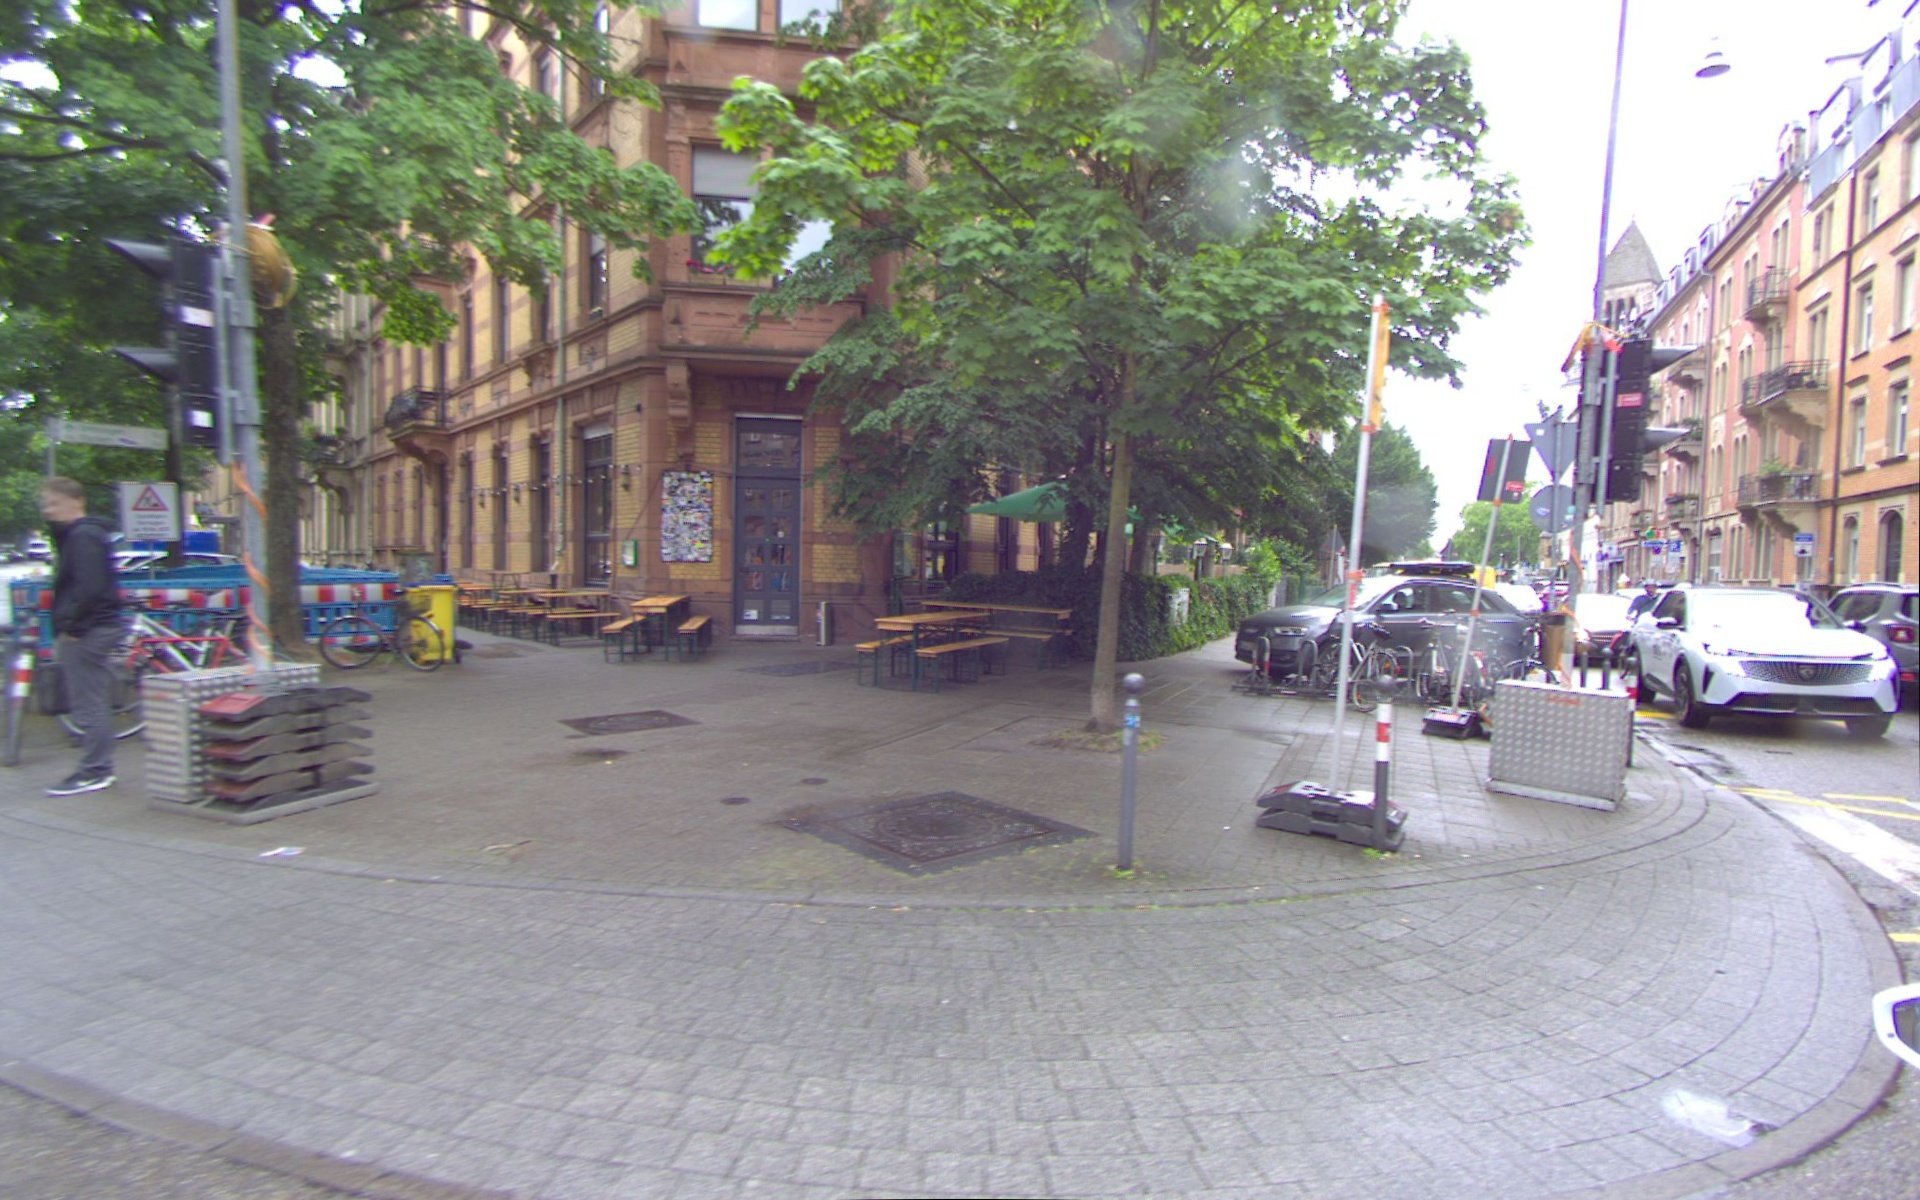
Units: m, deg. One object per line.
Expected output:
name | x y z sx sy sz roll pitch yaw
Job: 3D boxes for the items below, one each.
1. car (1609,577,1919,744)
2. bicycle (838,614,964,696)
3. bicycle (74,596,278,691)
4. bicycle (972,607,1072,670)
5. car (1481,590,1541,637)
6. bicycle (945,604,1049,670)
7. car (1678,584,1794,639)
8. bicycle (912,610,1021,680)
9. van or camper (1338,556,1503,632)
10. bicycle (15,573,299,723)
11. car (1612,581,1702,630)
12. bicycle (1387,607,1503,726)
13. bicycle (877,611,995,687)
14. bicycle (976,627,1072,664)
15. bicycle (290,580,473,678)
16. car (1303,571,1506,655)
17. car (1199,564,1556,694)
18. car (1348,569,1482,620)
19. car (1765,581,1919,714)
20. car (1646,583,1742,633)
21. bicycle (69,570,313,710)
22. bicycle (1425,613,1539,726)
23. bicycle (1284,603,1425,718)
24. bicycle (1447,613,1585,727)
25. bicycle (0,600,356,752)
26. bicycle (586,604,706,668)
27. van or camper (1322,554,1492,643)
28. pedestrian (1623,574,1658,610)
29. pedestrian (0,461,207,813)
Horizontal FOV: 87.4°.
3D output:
car | 9.972 0.628 12.933 1.828 1.682 5.006 2 0 23
bicycle | -0.674 0.608 11.372 1.367 0.826 0.405 2 2 21
bicycle | -8.653 0.458 11.178 1.703 0.974 0.585 0 2 -30
bicycle | 0.898 0.548 14.566 1.367 0.826 0.405 2 2 21
car | 23.284 0.507 42.573 1.767 1.514 4.578 6 6 24
bicycle | 0.513 0.504 13.904 1.367 0.826 0.405 2 2 21
car | 22.823 0.347 29.733 1.759 1.486 4.480 2 0 25
bicycle | 0.083 0.576 13.186 1.367 0.826 0.405 2 2 21
van or camper | 15.833 -0.241 34.684 4.640 2.298 2.181 3 3 -8
bicycle | -7.538 0.410 9.553 1.976 1.293 0.586 -2 3 -25
car | 27.364 0.149 39.586 1.962 1.803 4.823 1 1 23
bicycle | 5.616 0.724 11.753 0.391 1.201 1.877 2 2 0
bicycle | -0.298 0.578 12.227 1.367 0.826 0.405 2 2 21
bicycle | 0.946 0.673 14.902 1.367 0.459 0.405 2 2 21
bicycle | -7.255 0.323 12.580 2.366 1.106 0.742 2 2 24
car | 10.579 0.302 24.028 4.066 1.684 1.797 4 2 -12
car | 5.980 0.407 14.611 4.380 1.584 1.996 3 0 -12
car | 20.388 -0.276 45.149 5.149 2.106 1.870 2 1 0
car | 13.670 0.587 14.632 1.868 1.693 4.502 1 1 24
car | 25.071 0.215 34.445 1.842 1.583 4.340 0 1 25
bicycle | -7.688 0.366 10.139 1.840 1.293 0.472 -2 3 -25
bicycle | 6.050 0.766 11.730 0.391 1.159 1.682 2 2 0
bicycle | 4.567 0.659 11.802 0.762 1.159 1.930 2 2 -3
bicycle | 6.498 0.781 11.843 0.576 1.159 1.681 2 2 -3
bicycle | -6.433 0.568 8.266 2.380 1.058 0.860 -1 3 -25
bicycle | -4.290 0.491 13.774 1.518 0.826 0.405 1 2 -10
van or camper | 13.008 -0.055 29.373 4.009 2.269 1.934 4 1 -8
pedestrian | 34.748 -0.399 51.277 1.918 0.818 0.675 -42 20 -23
pedestrian | -5.426 0.202 6.422 0.854 2.041 0.937 0 3 -30
